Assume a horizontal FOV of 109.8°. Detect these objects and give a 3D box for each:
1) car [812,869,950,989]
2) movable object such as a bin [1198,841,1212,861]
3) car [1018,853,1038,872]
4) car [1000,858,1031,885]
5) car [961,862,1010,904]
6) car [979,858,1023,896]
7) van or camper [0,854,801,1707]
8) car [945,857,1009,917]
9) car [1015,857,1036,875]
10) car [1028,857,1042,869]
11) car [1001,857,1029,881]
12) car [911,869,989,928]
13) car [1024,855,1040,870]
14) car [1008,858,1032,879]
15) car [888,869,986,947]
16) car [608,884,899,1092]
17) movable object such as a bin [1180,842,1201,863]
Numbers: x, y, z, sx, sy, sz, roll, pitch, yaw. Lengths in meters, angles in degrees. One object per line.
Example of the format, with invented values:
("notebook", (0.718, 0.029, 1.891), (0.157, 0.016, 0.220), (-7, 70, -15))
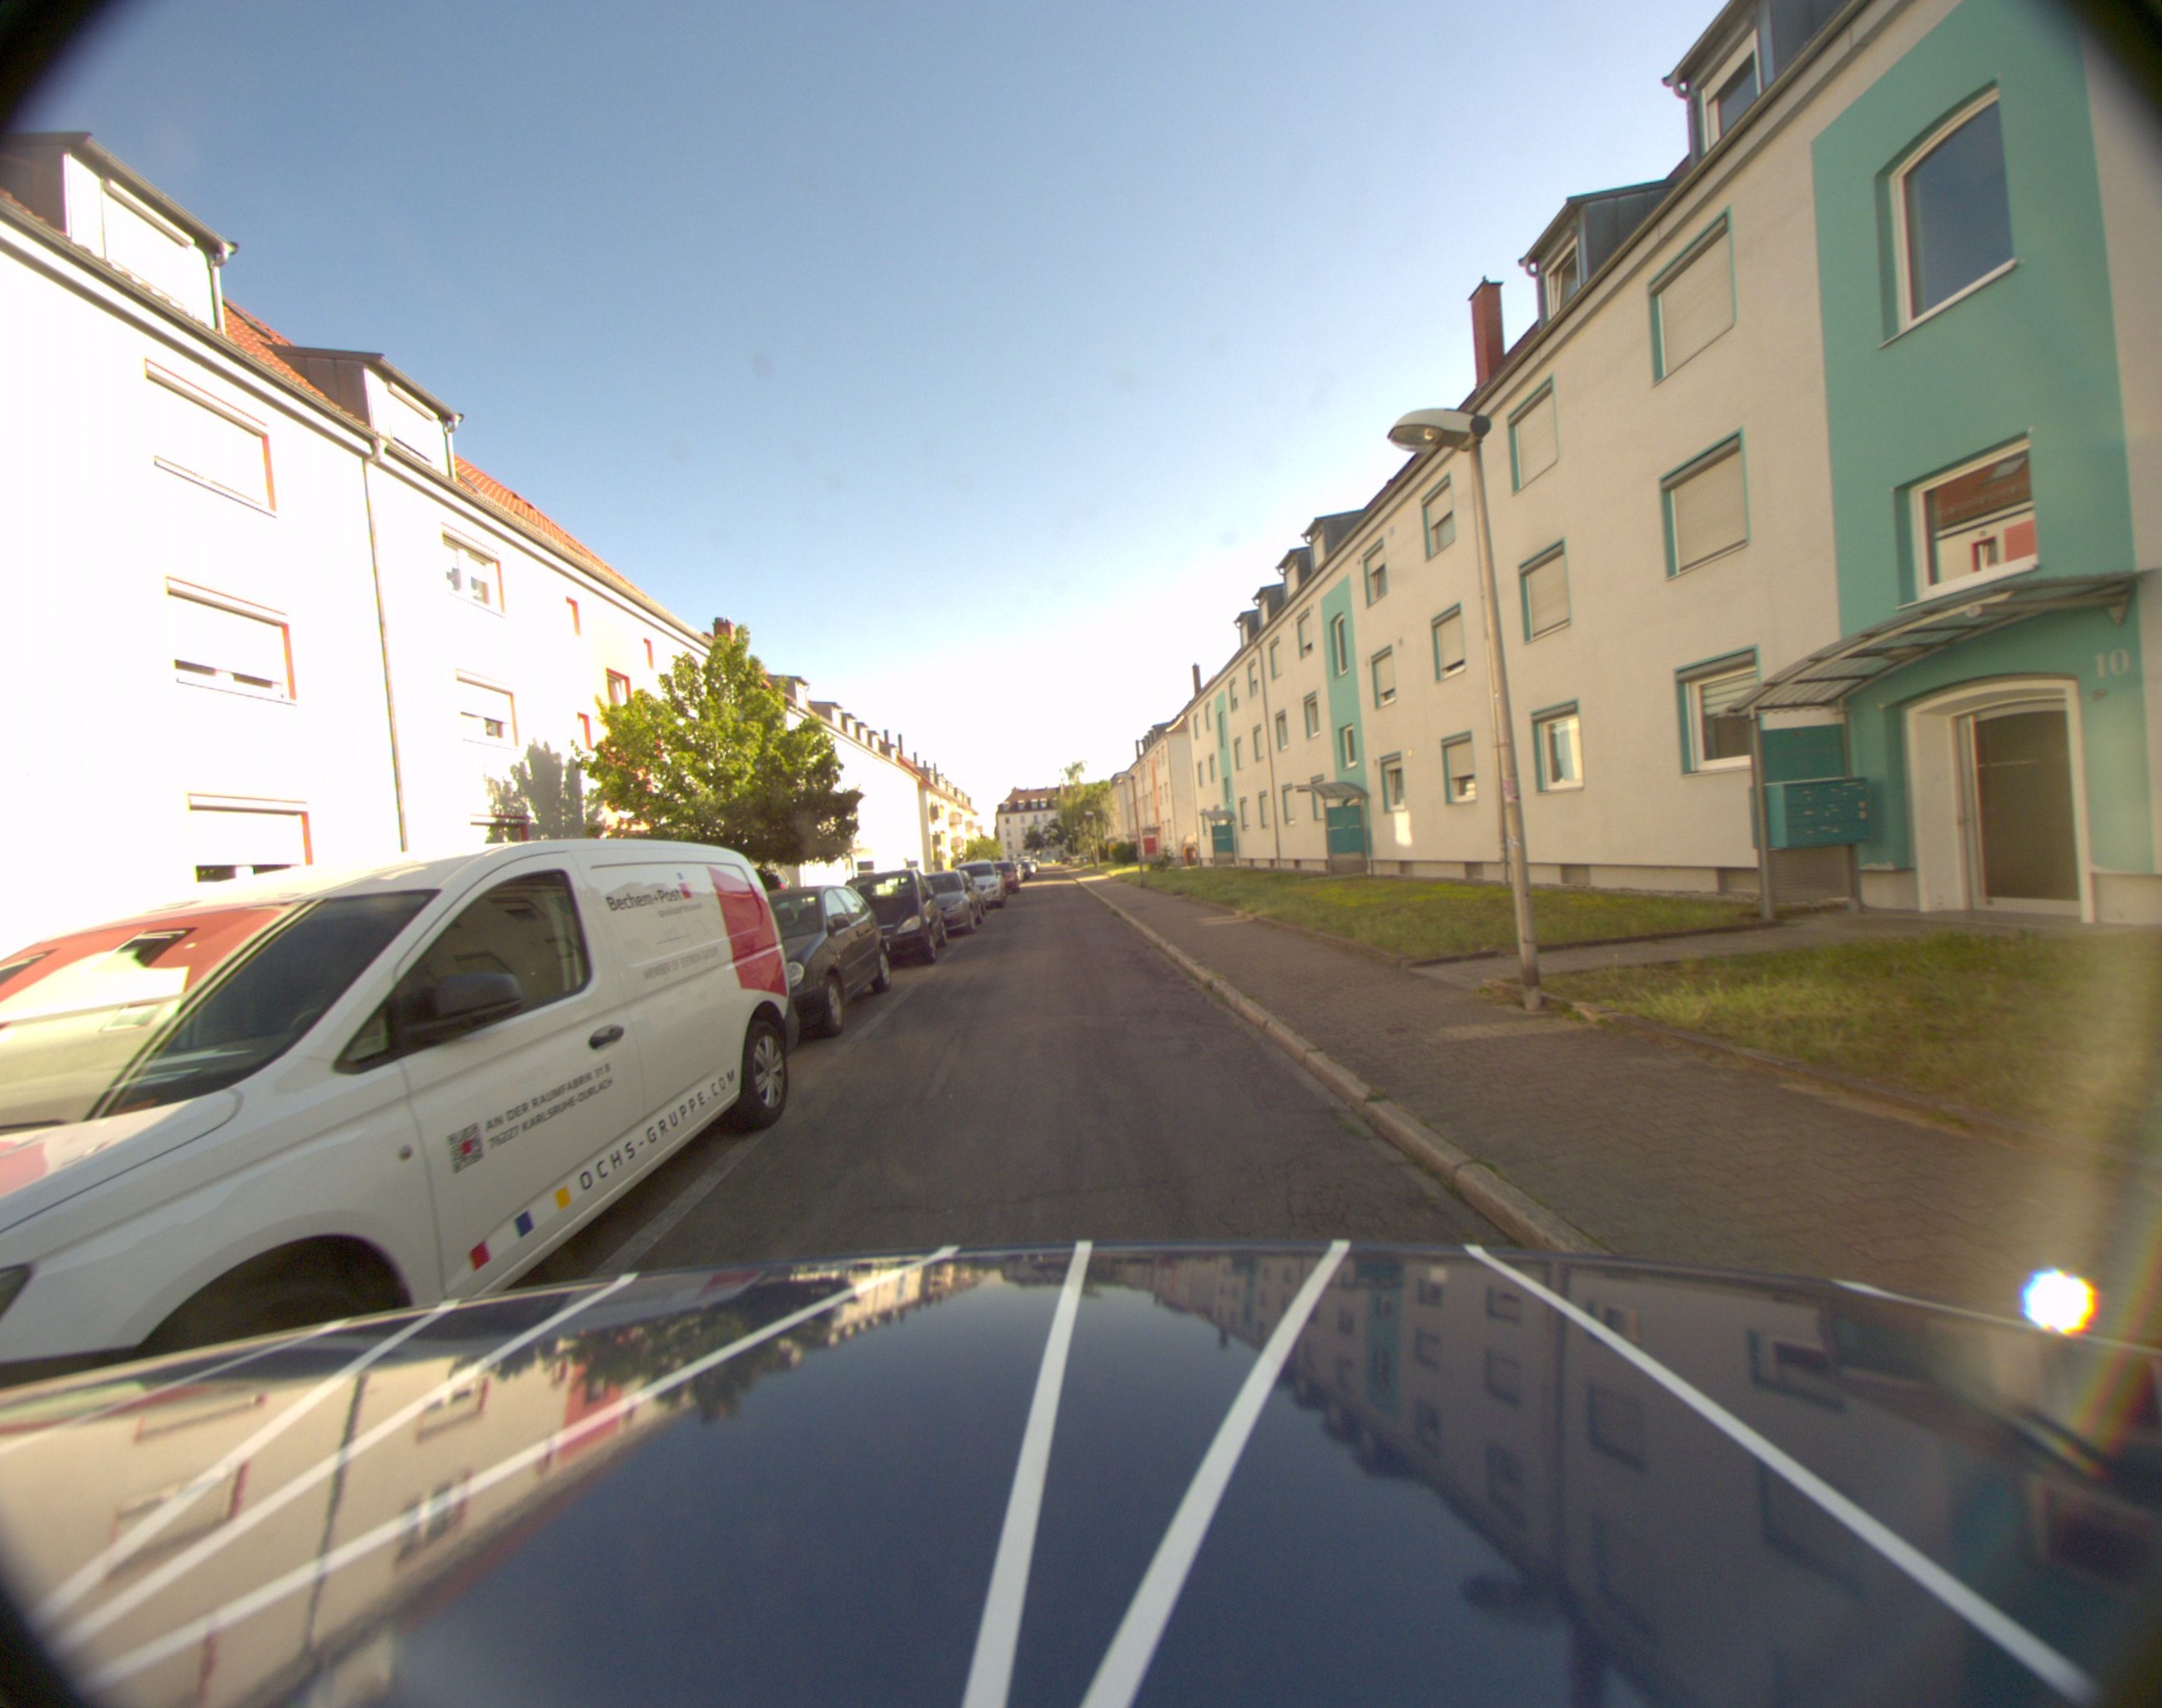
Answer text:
("car", (-3.310, 1.151, 13.203), (1.622, 1.541, 3.609), (-7, 1, -6))
("movable object such as a bin", (8.716, -0.205, 53.489), (0.753, 1.385, 0.762), (-5, 1, -4))
("car", (-6.047, 0.898, 86.908), (1.954, 1.890, 4.762), (-5, 1, -2))
("car", (-4.280, 1.095, 50.167), (1.709, 1.562, 3.875), (-4, 0, -2))
("car", (-3.975, 1.189, 32.127), (1.621, 1.440, 3.856), (-7, 0, -3))
("car", (-3.878, 1.094, 37.529), (1.732, 1.597, 4.422), (-4, 0, -2))
("van or camper", (-2.856, 0.952, 2.929), (1.797, 1.737, 4.733), (-5, 0, -2))
("car", (-3.556, 1.067, 26.657), (1.780, 1.709, 4.305), (-7, 0, -4))
("car", (-5.677, 1.253, 78.497), (1.709, 1.562, 4.380), (-4, 1, 1))
("car", (-6.688, 1.255, 111.041), (1.709, 1.562, 3.924), (-5, 1, -2))
("car", (-4.873, 1.109, 56.522), (1.709, 1.562, 4.040), (-4, 0, -2))
("car", (-3.674, 1.204, 21.808), (1.633, 1.386, 3.488), (-4, 0, -2))
("car", (-5.987, 1.036, 93.530), (1.709, 1.562, 4.733), (-5, 1, -2))
("car", (-4.990, 1.159, 62.384), (1.709, 1.562, 4.040), (-4, 0, -2))
("car", (-3.183, 1.140, 17.480), (1.633, 1.441, 3.951), (-5, -1, -4))
("car", (-3.183, 1.196, 8.253), (1.577, 1.409, 3.786), (-7, 0, -4))
("movable object such as a bin", (7.694, -0.130, 53.433), (1.167, 1.385, 0.877), (-4, 1, -2))
